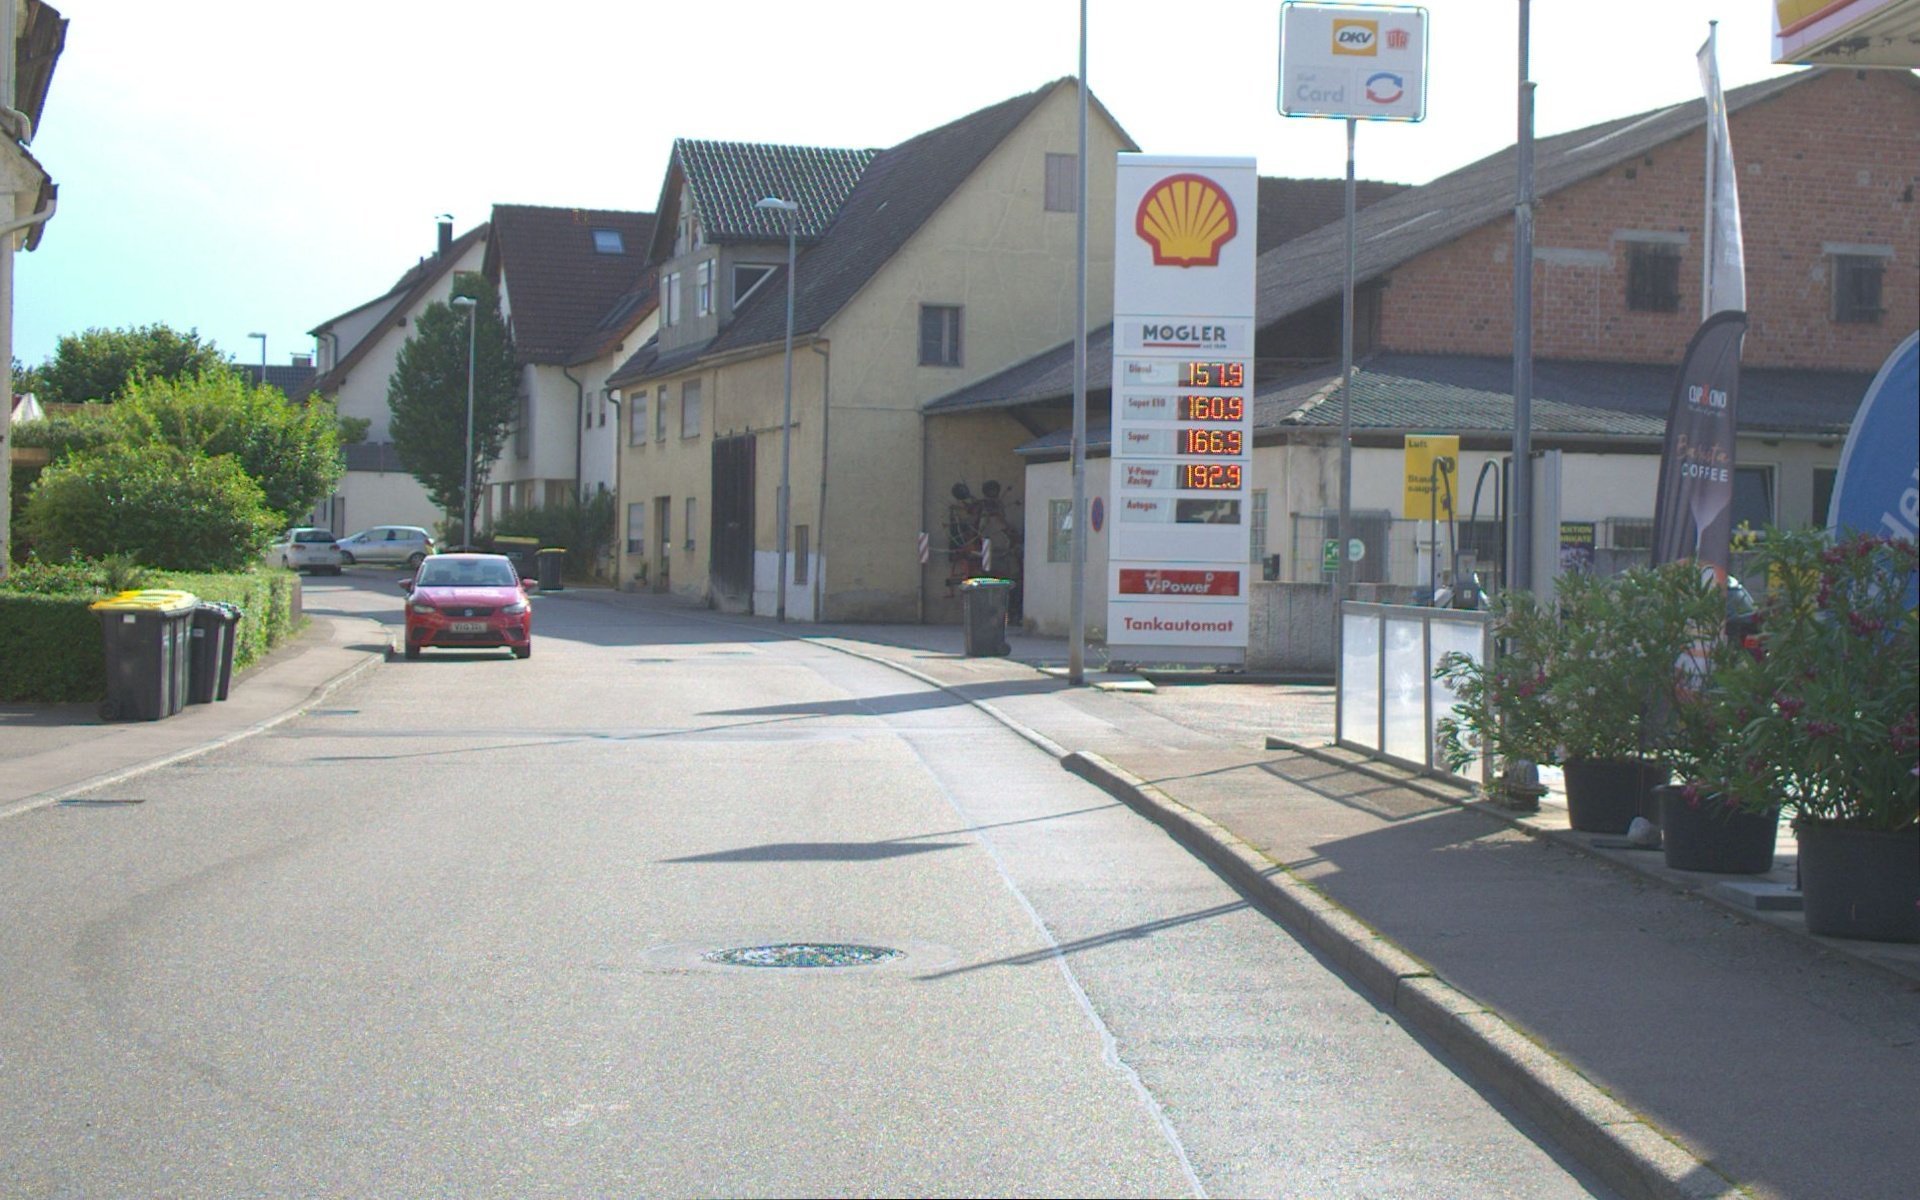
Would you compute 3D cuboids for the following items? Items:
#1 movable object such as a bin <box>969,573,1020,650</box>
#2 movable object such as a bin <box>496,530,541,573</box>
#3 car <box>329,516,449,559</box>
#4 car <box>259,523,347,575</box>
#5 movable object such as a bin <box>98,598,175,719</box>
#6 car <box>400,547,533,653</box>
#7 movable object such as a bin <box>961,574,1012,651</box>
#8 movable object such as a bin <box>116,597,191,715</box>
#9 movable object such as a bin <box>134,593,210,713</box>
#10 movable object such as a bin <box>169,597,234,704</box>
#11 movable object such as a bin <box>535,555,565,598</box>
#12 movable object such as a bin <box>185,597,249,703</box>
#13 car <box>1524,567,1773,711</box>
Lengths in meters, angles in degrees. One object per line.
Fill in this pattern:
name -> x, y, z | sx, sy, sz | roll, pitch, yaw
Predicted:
movable object such as a bin -> 0.483, 0.155, 48.535 | 0.653, 1.070, 0.513 | 1, 1, -5
movable object such as a bin -> -12.460, -1.367, 97.034 | 1.160, 1.164, 0.655 | 1, 1, -14
car -> -19.511, -2.127, 117.409 | 3.986, 1.348, 1.711 | 1, 1, -11
car -> -20.577, -1.606, 107.570 | 1.704, 1.573, 4.001 | 1, 1, -26
movable object such as a bin -> -7.500, 0.528, 31.308 | 0.588, 1.080, 0.508 | 0, 1, -2
car -> -7.003, -0.009, 48.524 | 1.708, 1.430, 3.781 | 0, 0, -10
movable object such as a bin -> 0.379, 0.173, 49.087 | 0.653, 1.070, 0.513 | 1, 1, -5
movable object such as a bin -> -7.491, 0.516, 31.945 | 0.588, 1.080, 0.530 | 0, 1, -2
movable object such as a bin -> -7.466, 0.499, 32.576 | 0.588, 1.118, 0.617 | 0, 1, -2
movable object such as a bin -> -7.313, 0.481, 33.145 | 0.531, 1.019, 0.457 | 0, 1, -2
movable object such as a bin -> -10.410, -0.593, 87.348 | 0.652, 1.070, 0.513 | 1, 1, -18
movable object such as a bin -> -7.263, 0.484, 33.634 | 0.531, 1.019, 0.457 | 0, 1, -2
car -> 7.558, 0.383, 38.128 | 1.577, 1.422, 4.382 | 2, 1, -4
